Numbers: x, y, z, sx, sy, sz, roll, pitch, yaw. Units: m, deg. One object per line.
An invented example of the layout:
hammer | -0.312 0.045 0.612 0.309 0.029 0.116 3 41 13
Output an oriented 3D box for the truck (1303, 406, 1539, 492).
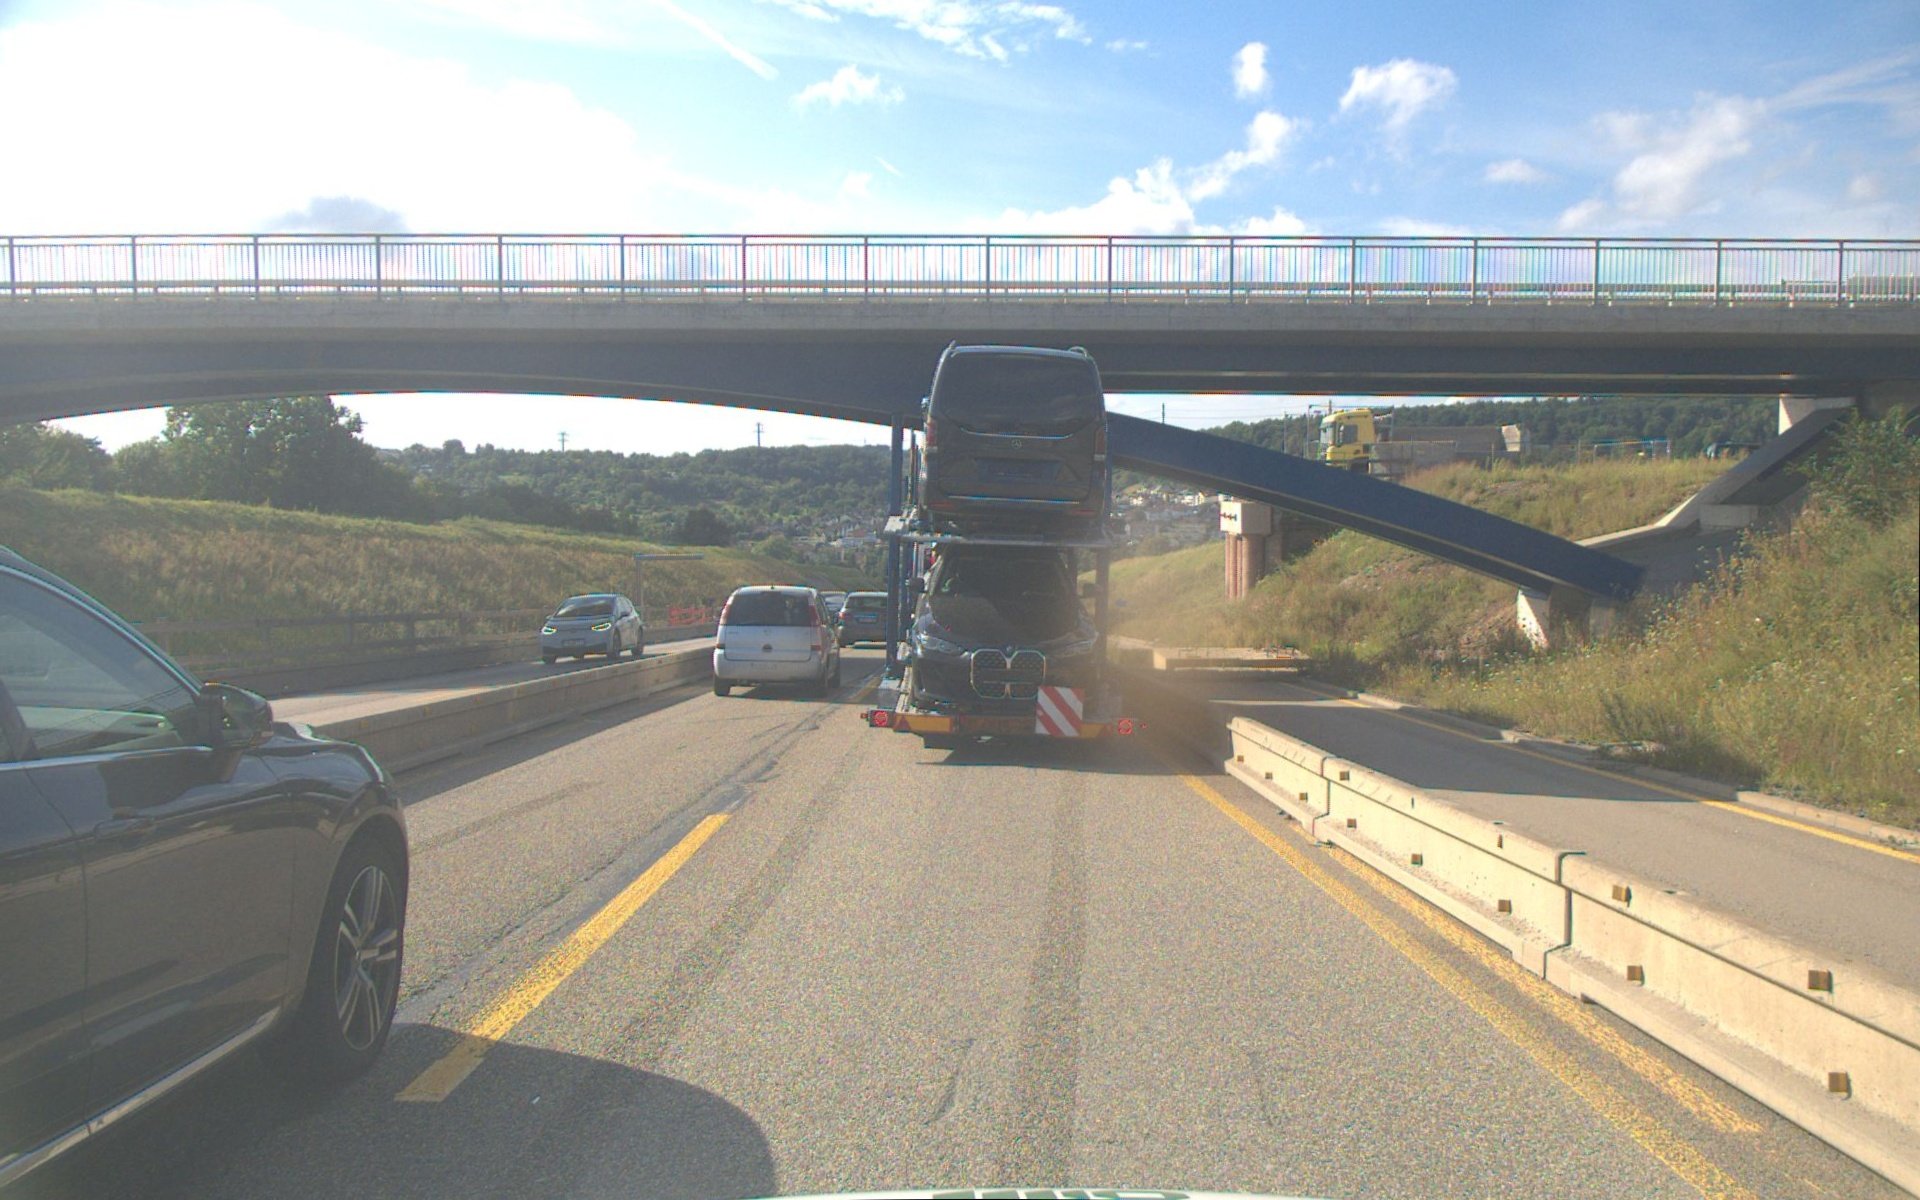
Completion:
truck | 19.167 -6.289 69.183 9.073 3.284 2.960 0 0 0

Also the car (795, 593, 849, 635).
car | -5.629 0.553 67.805 1.786 1.590 4.218 -2 0 0

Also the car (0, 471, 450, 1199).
car | -2.679 0.593 3.210 1.953 1.653 4.749 0 0 -1

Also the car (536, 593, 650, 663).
car | -8.865 0.637 40.242 1.786 1.518 4.218 -2 0 0

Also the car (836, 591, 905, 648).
car | -2.536 0.529 47.655 1.759 1.557 4.295 0 0 0

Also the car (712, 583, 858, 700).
car | -2.624 0.570 25.749 1.759 1.624 4.743 1 1 0

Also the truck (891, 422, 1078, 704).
truck | 0.392 -0.525 26.485 2.623 3.990 6.028 0 0 1

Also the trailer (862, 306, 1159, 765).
trailer | 0.432 -0.581 20.554 2.653 4.099 11.418 0 0 0
